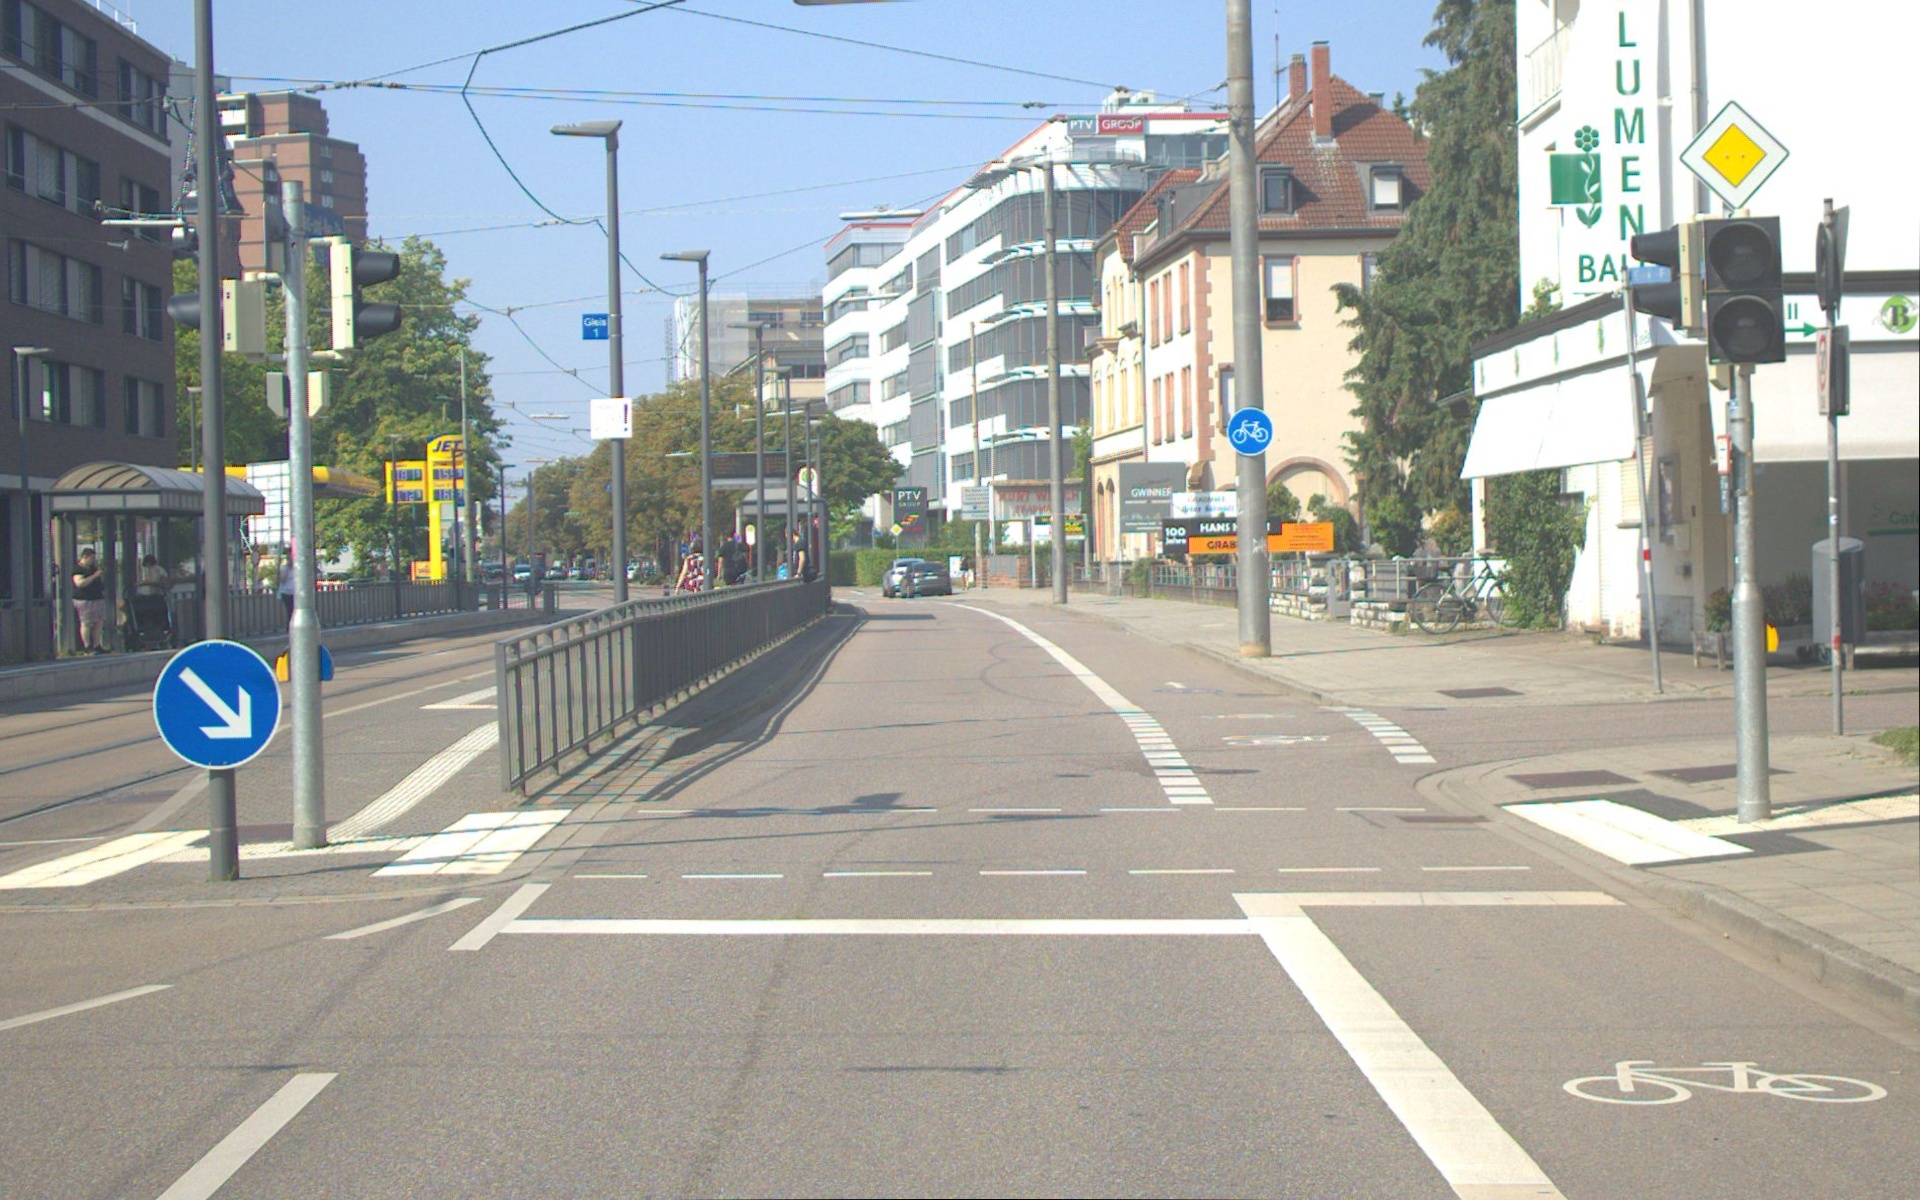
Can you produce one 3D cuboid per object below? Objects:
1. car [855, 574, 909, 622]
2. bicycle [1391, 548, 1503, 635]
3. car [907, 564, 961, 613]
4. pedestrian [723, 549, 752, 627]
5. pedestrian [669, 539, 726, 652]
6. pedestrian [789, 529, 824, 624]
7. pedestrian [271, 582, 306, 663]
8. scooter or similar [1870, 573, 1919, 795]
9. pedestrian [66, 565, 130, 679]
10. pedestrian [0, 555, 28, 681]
[{"bbox_3d":[-3.266,-0.097,144.645,2.011,1.852,4.000,-3,0,1],"label":"car"},{"bbox_3d":[6.825,-0.121,48.305,0.731,1.129,2.840,-5,1,-8],"label":"bicycle"},{"bbox_3d":[-1.022,-0.469,138.519,2.011,1.852,4.000,-3,0,1],"label":"car"},{"bbox_3d":[-4.930,-0.271,76.182,0.536,1.697,0.582,-3,0,-3],"label":"pedestrian"},{"bbox_3d":[-4.055,-0.079,53.107,0.720,1.697,0.884,-3,0,1],"label":"pedestrian"},{"bbox_3d":[-2.814,-0.430,62.954,0.536,1.697,0.582,-3,0,-3],"label":"pedestrian"},{"bbox_3d":[-12.842,0.425,65.776,0.532,1.525,0.702,-3,0,-6],"label":"pedestrian"},{"bbox_3d":[5.190,0.427,17.758,0.523,1.129,1.511,-3,0,0],"label":"scooter or similar"},{"bbox_3d":[-13.535,0.344,54.016,0.708,1.741,0.799,-3,0,0],"label":"pedestrian"},{"bbox_3d":[-13.371,0.263,47.462,0.708,1.717,0.799,-3,0,0],"label":"pedestrian"}]
